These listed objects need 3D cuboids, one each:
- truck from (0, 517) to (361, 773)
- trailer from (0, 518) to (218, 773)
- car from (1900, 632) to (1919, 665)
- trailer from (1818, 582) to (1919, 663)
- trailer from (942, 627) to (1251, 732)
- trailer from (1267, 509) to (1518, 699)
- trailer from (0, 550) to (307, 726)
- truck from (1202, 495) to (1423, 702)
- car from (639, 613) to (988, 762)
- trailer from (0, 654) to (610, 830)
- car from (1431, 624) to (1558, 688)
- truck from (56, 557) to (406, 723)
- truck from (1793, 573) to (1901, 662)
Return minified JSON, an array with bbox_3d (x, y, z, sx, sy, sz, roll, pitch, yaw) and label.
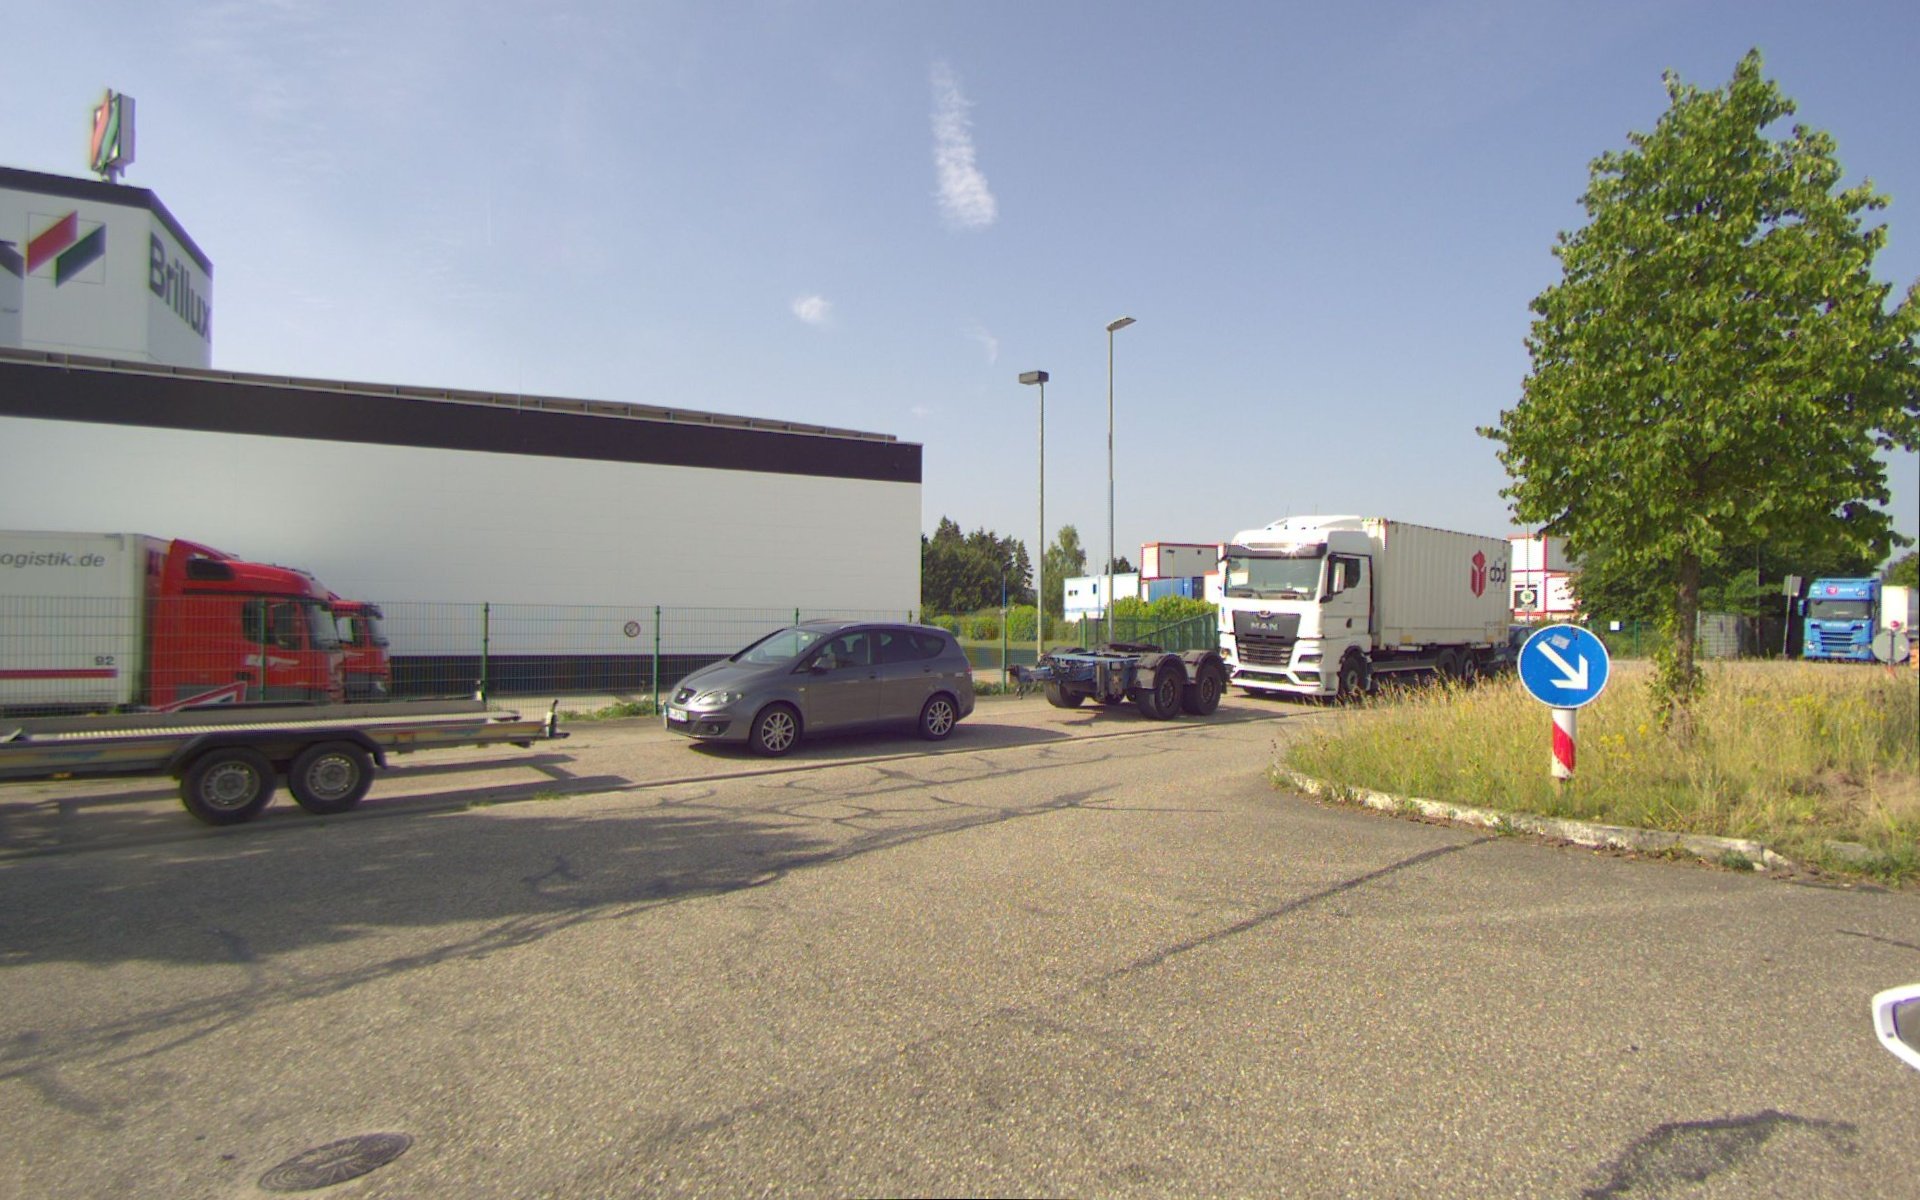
[{"bbox_3d":[-14.272,0.815,18.235,5.472,4.125,2.504,3,0,-27],"label":"truck"},{"bbox_3d":[-20.080,0.494,15.299,13.707,4.095,2.473,3,-1,-26],"label":"trailer"},{"bbox_3d":[62.498,3.133,65.099,1.969,2.040,3.983,0,-1,39],"label":"car"},{"bbox_3d":[49.039,1.327,54.026,11.949,3.893,2.805,3,-1,-42],"label":"trailer"},{"bbox_3d":[2.472,1.256,17.486,5.036,1.473,2.658,2,-1,-41],"label":"trailer"},{"bbox_3d":[10.767,0.221,24.559,7.521,3.973,2.674,3,-1,-43],"label":"trailer"},{"bbox_3d":[-24.002,0.808,23.870,13.828,4.060,2.845,2,0,-26],"label":"trailer"},{"bbox_3d":[7.672,0.040,21.705,4.266,3.973,2.684,3,-1,-42],"label":"truck"},{"bbox_3d":[-1.788,1.026,13.206,4.303,1.582,1.680,2,1,-42],"label":"car"},{"bbox_3d":[-6.737,1.085,8.566,6.662,0.937,2.523,2,2,-43],"label":"trailer"},{"bbox_3d":[15.701,1.574,29.403,4.557,1.662,1.974,2,0,-44],"label":"car"},{"bbox_3d":[-18.727,1.105,26.481,6.924,3.922,2.755,3,-1,-27],"label":"truck"},{"bbox_3d":[42.869,0.952,48.416,9.602,3.876,2.799,3,-1,-42],"label":"truck"}]
